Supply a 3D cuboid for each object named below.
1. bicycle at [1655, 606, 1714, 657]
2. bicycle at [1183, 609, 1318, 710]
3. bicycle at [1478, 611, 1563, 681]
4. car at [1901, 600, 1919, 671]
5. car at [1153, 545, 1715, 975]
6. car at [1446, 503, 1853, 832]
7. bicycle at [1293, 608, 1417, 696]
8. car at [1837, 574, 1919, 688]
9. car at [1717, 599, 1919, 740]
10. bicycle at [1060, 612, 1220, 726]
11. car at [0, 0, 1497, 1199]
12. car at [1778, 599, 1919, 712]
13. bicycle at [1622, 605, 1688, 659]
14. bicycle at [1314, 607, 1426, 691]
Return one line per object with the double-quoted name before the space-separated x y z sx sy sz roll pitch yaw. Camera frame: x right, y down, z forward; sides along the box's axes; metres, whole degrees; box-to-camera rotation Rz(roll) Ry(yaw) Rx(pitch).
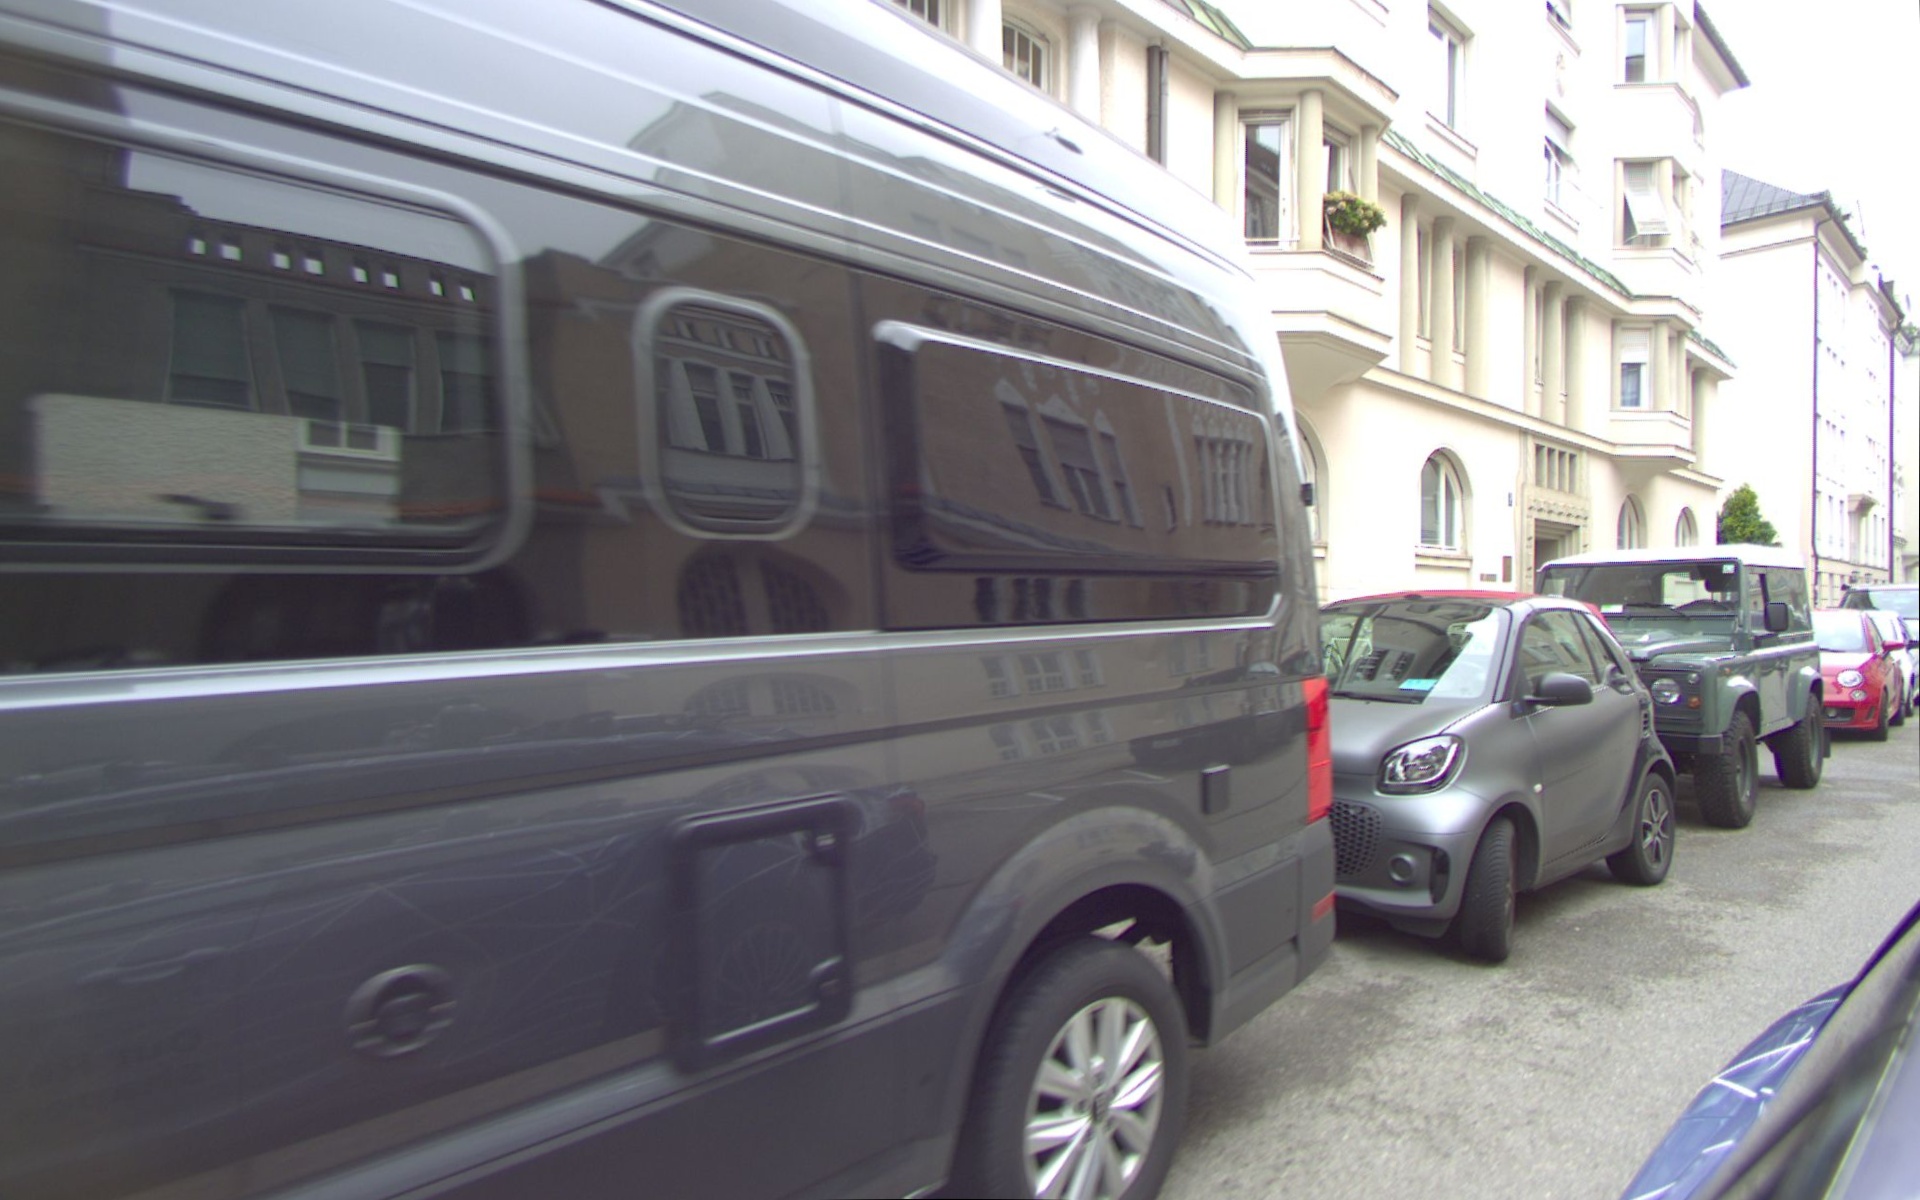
"bicycle" 17.092 0.721 23.871 1.852 1.131 0.719 0 2 -42
"bicycle" 3.585 0.687 12.395 1.933 1.131 0.642 0 0 -40
"bicycle" 9.638 0.758 17.374 1.933 1.131 0.642 0 0 -40
"car" 21.922 0.756 22.014 3.672 1.485 1.730 0 0 -41
"car" 2.545 0.609 5.327 2.762 1.646 1.547 0 0 -36
"car" 5.805 0.416 8.343 3.999 2.065 1.799 0 0 -40
"bicycle" 5.259 0.674 13.489 1.566 1.131 0.432 0 0 -13
"car" 18.020 0.540 18.939 4.583 1.961 1.878 0 -1 -42
"car" 10.603 0.747 12.398 3.444 1.491 1.494 0 -1 -42
"bicycle" 2.001 0.703 11.065 1.933 1.131 0.647 0 0 -40
"car" -1.321 -0.016 2.078 6.026 2.997 2.258 -1 0 -41
"car" 13.538 0.746 15.126 3.612 1.491 1.494 0 -1 -42
"bicycle" 15.559 0.690 22.636 1.933 1.131 0.719 0 2 -41
"bicycle" 5.672 0.666 13.993 1.527 1.131 0.317 0 0 -13
